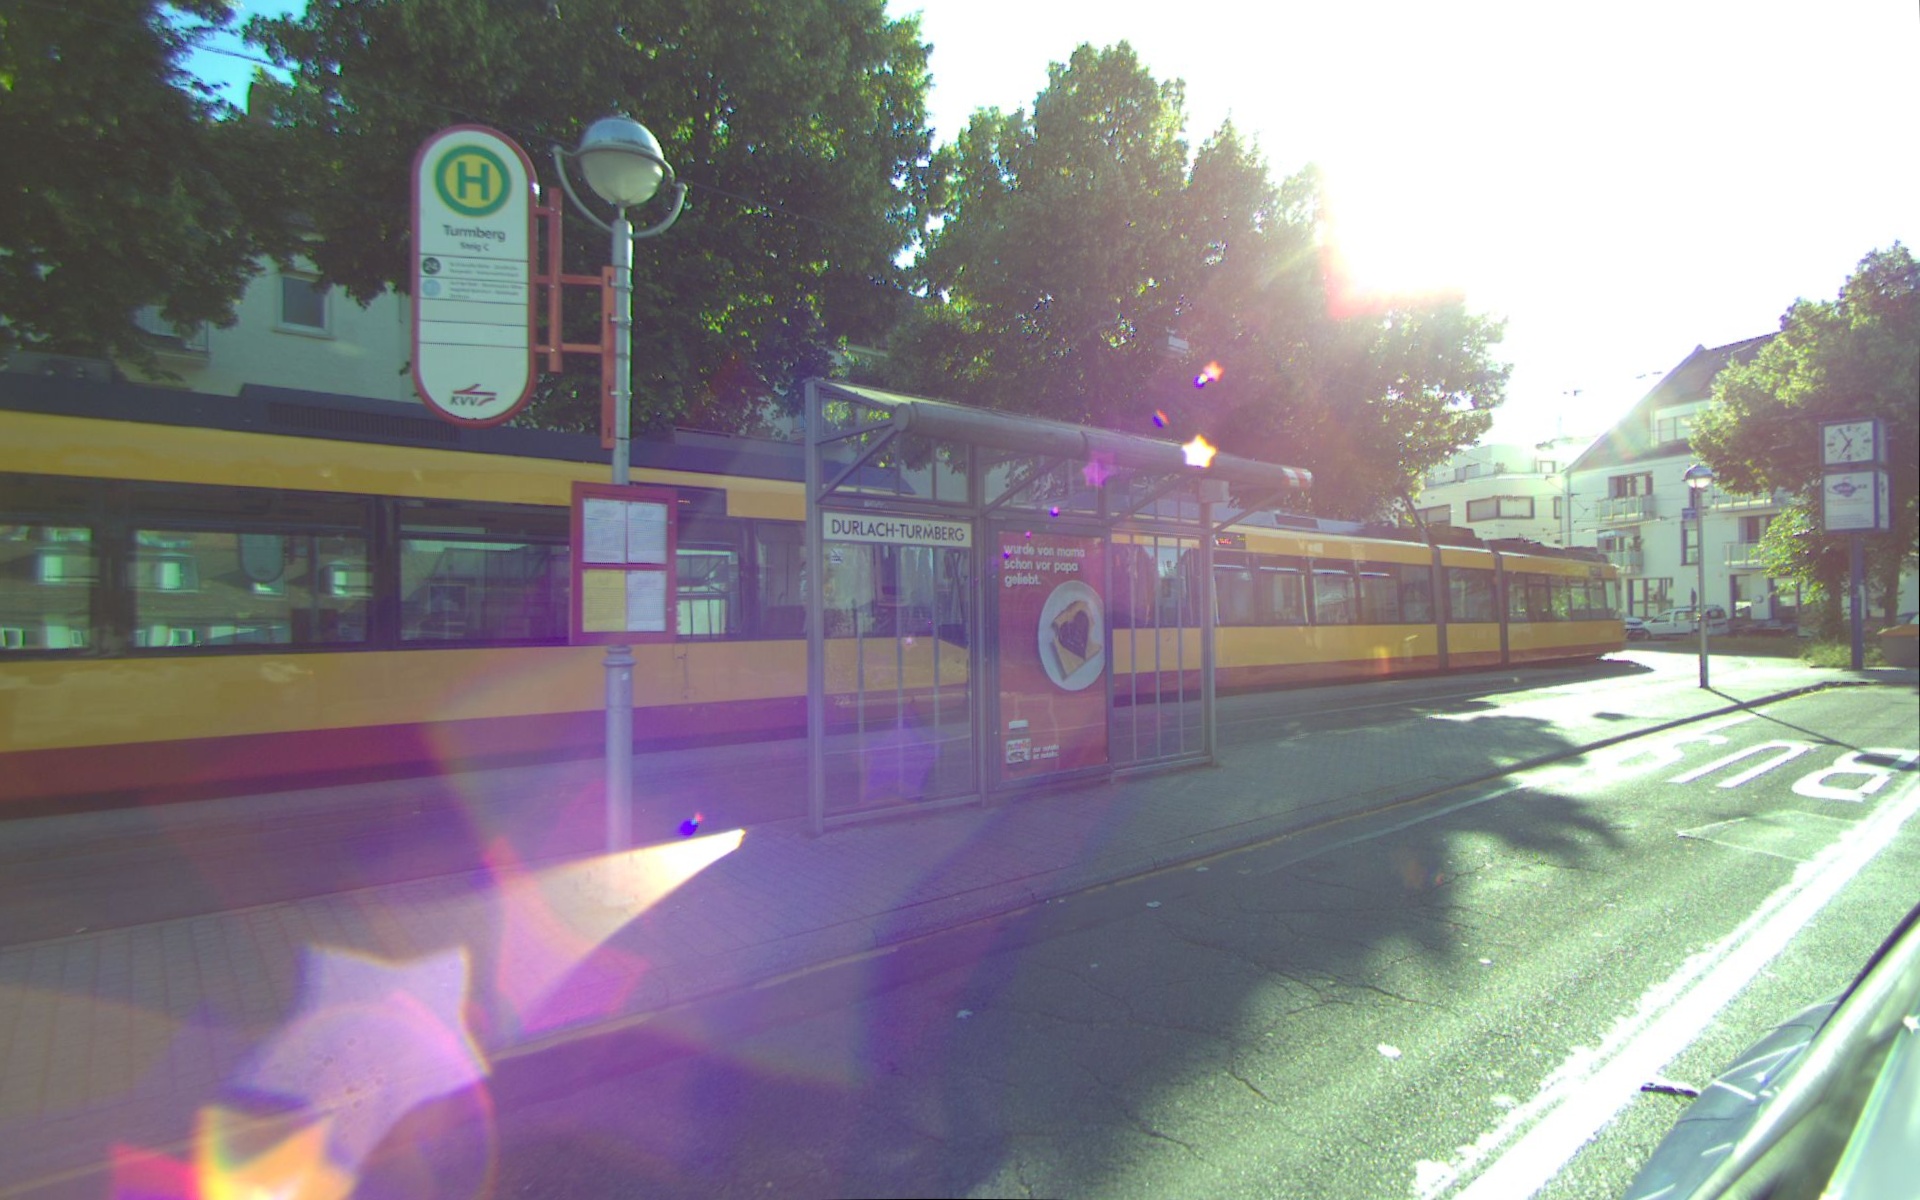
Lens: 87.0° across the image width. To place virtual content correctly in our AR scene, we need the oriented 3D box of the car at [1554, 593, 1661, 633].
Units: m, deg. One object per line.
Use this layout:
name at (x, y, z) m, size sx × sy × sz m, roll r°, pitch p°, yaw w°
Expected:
car at (34.285, 0.736, 53.740) m, size 1.833 × 1.958 × 4.799 m, roll 0°, pitch -2°, yaw -13°

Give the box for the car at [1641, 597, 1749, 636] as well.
car at (39.140, 0.829, 54.000) m, size 1.958 × 1.981 × 4.281 m, roll 0°, pitch 0°, yaw -21°

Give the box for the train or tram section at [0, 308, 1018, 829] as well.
train or tram section at (-5.209, -0.267, 10.101) m, size 13.228 × 3.578 × 2.962 m, roll -1°, pitch 1°, yaw -41°

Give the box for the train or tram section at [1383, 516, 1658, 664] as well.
train or tram section at (16.649, -0.189, 29.243) m, size 13.234 × 3.465 × 2.961 m, roll 1°, pitch -1°, yaw -43°

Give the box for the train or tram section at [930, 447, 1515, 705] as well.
train or tram section at (6.352, -0.280, 19.932) m, size 15.663 × 3.465 × 2.962 m, roll 1°, pitch 0°, yaw -42°

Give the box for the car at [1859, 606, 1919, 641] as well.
car at (41.596, 1.010, 43.559) m, size 1.574 × 1.481 × 4.211 m, roll -1°, pitch -2°, yaw -9°
